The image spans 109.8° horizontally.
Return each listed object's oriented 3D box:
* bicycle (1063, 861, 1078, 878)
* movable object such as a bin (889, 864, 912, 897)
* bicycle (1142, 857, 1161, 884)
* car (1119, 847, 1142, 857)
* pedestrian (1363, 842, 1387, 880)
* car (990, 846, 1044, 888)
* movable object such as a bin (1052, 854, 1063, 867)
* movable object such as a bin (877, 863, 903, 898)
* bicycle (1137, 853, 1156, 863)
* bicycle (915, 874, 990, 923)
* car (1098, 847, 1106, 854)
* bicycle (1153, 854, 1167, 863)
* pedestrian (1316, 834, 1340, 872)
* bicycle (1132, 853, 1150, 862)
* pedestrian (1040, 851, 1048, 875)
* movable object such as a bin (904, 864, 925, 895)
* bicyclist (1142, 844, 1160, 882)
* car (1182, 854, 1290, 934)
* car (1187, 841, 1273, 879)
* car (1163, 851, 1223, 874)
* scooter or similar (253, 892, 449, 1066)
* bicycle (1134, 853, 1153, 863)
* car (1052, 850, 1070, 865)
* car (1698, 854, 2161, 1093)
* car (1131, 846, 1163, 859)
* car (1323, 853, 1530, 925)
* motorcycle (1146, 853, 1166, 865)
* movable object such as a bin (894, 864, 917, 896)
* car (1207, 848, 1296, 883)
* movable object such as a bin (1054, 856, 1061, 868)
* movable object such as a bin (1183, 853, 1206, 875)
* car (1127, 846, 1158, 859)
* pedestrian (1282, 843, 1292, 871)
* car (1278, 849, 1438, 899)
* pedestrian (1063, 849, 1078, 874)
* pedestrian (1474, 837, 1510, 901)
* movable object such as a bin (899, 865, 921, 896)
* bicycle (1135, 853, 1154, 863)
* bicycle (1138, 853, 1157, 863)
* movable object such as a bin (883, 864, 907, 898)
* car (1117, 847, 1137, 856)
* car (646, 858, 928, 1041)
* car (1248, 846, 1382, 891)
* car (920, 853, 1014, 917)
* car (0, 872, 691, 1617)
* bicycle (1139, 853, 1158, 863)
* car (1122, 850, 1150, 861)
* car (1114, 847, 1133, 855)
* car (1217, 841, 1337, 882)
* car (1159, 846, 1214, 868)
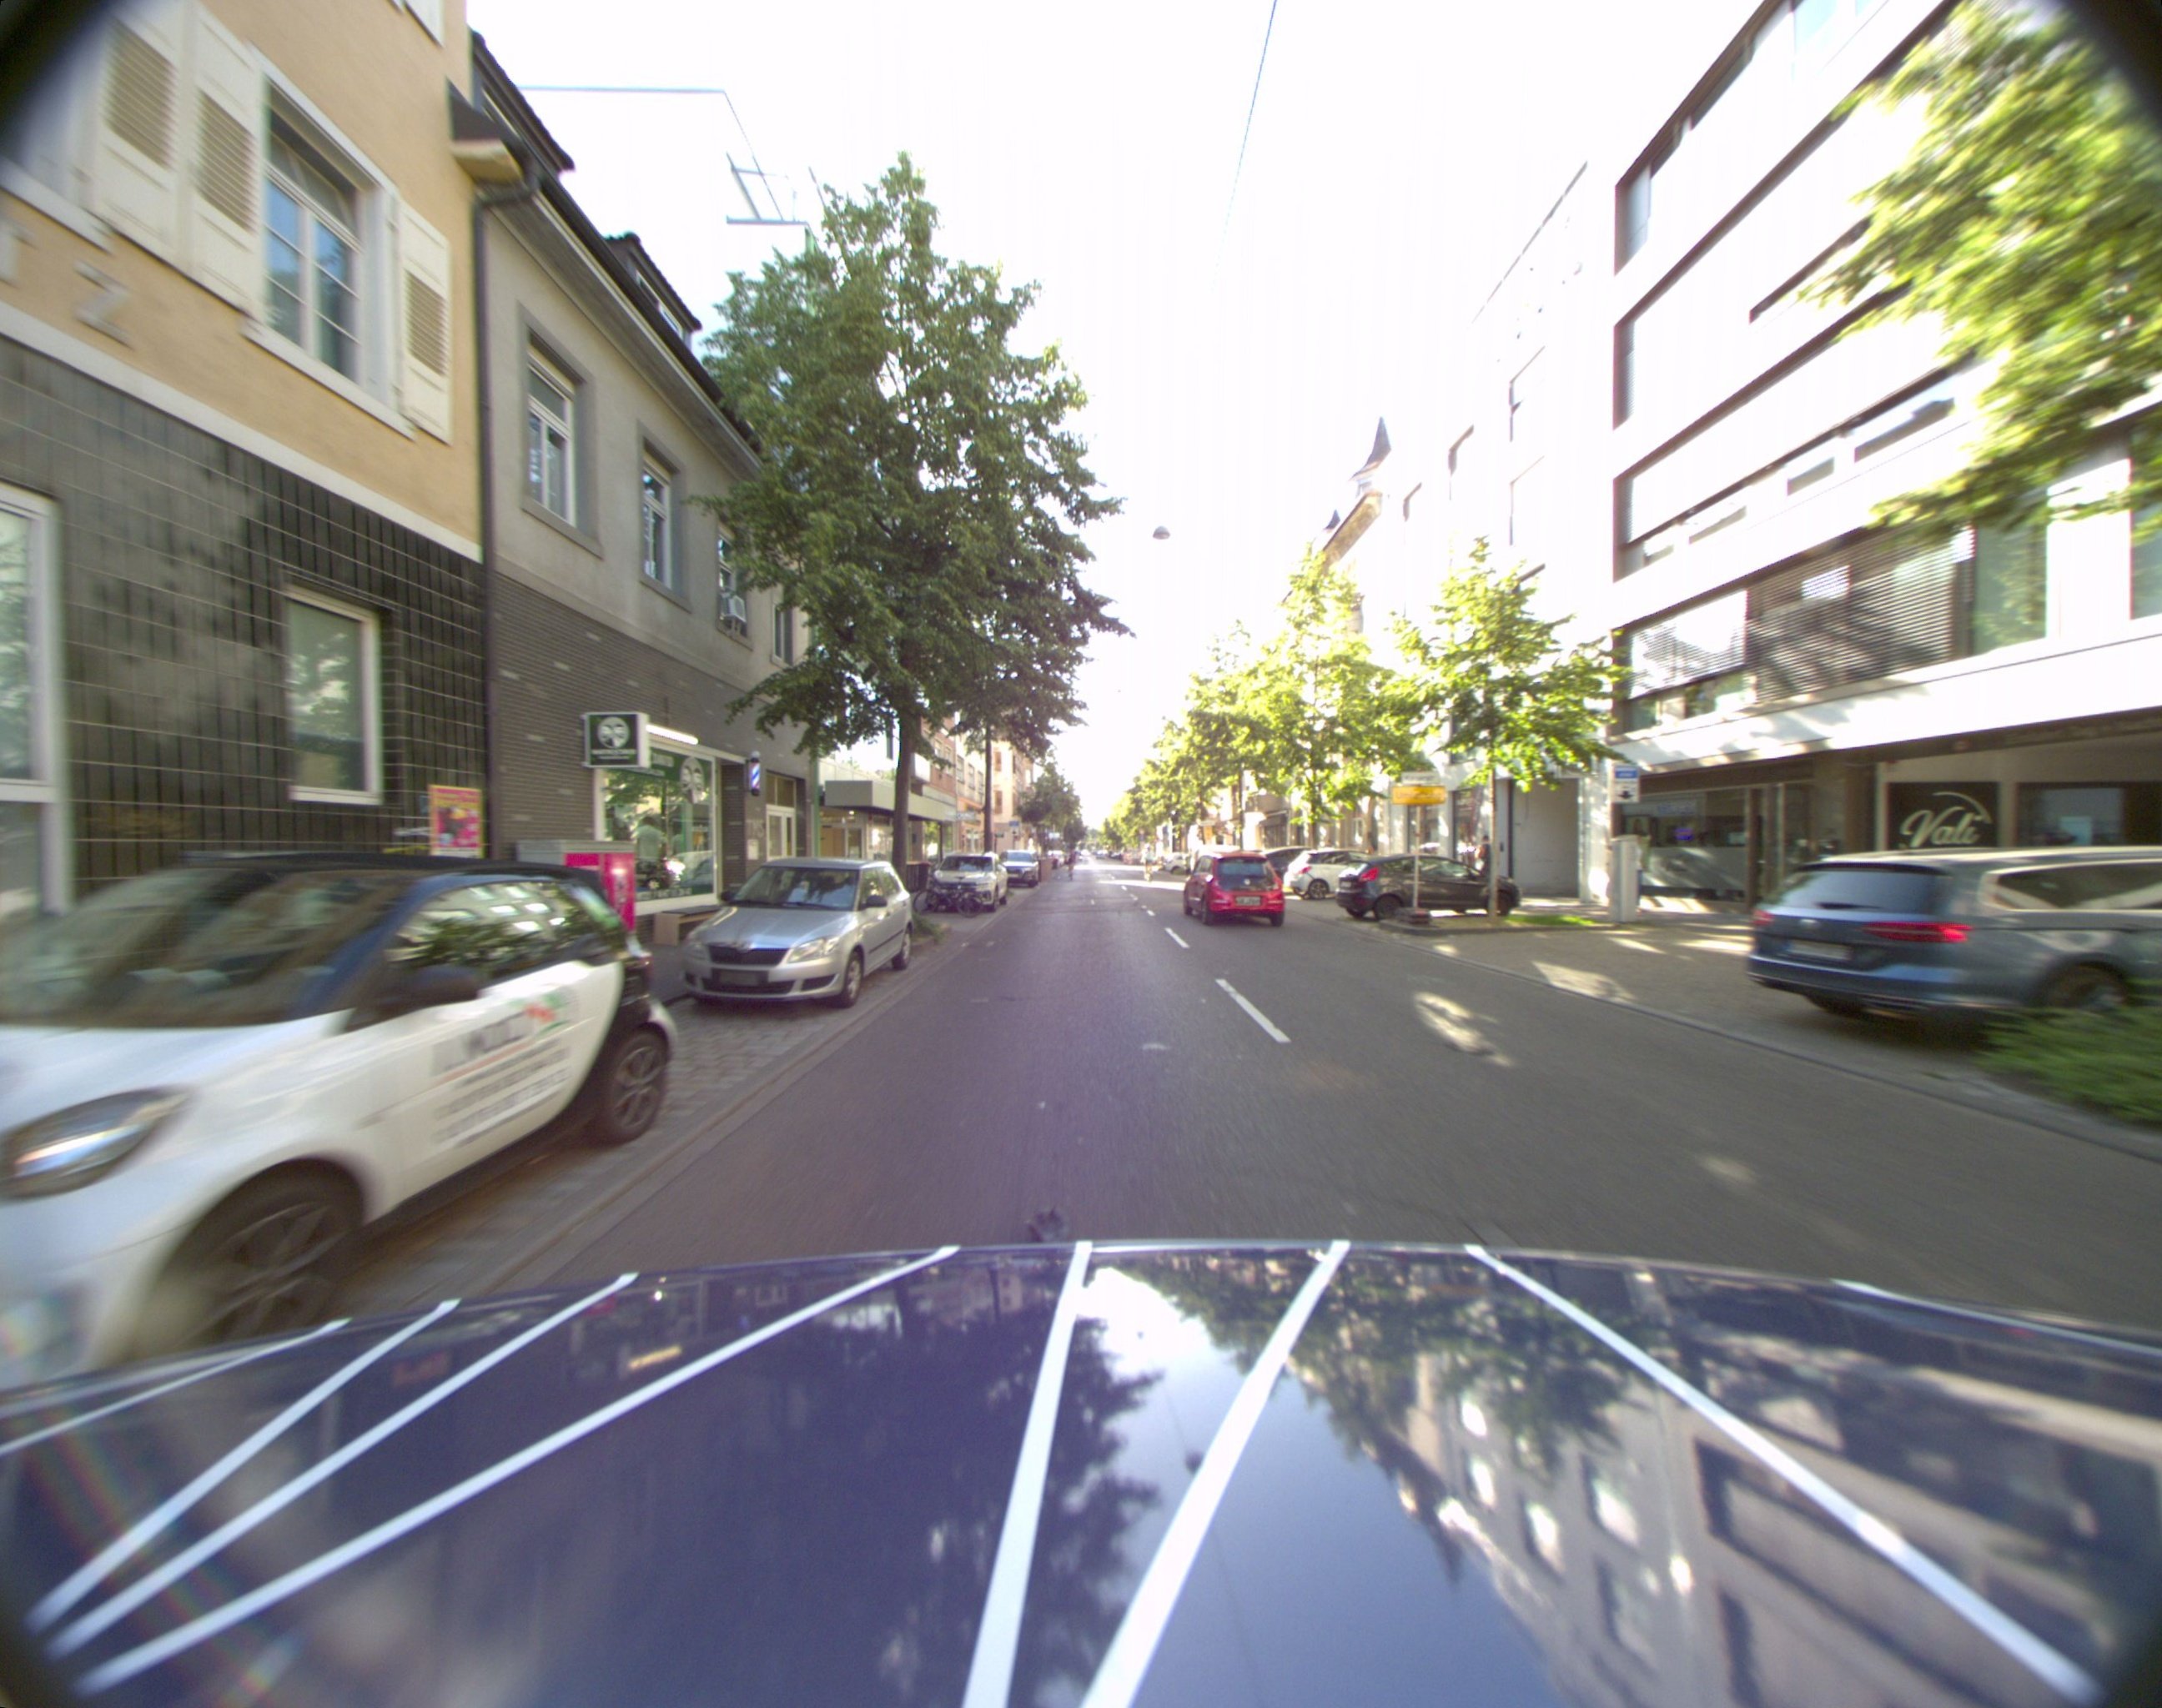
[{"bbox_3d":[-0.581,0.871,43.232,0.805,0.958,1.996,-2,0,-1],"label":"bicycle"},{"bbox_3d":[-5.941,0.864,24.999,0.615,1.058,0.589,0,1,2],"label":"movable object such as a bin"},{"bbox_3d":[3.235,0.748,35.032,0.727,1.162,2.197,0,0,1],"label":"bicycle"},{"bbox_3d":[9.102,-0.349,140.740,4.134,1.792,1.911,-1,1,-1],"label":"car"},{"bbox_3d":[11.778,0.273,30.464,0.594,1.485,0.842,-3,1,2],"label":"pedestrian"},{"bbox_3d":[-2.815,0.525,34.425,1.999,1.680,4.516,3,0,0],"label":"car"},{"bbox_3d":[-2.269,0.591,73.636,0.944,1.207,0.699,1,2,1],"label":"movable object such as a bin"},{"bbox_3d":[-5.959,0.831,23.757,0.615,1.058,0.655,0,1,2],"label":"movable object such as a bin"},{"bbox_3d":[7.129,0.425,83.227,2.006,1.023,0.473,-2,1,-12],"label":"bicycle"},{"bbox_3d":[-3.033,1.046,18.036,1.626,1.007,0.611,4,1,-1],"label":"bicycle"},{"bbox_3d":[4.648,-0.747,167.270,1.835,1.410,3.833,0,0,1],"label":"car"},{"bbox_3d":[8.662,0.522,83.448,1.513,0.945,0.360,-1,1,41],"label":"bicycle"},{"bbox_3d":[11.842,-0.036,36.500,0.776,1.756,0.763,-5,1,-1],"label":"pedestrian"},{"bbox_3d":[6.721,0.394,85.114,2.006,1.023,0.473,-2,1,-12],"label":"bicycle"},{"bbox_3d":[-2.380,0.580,48.611,0.474,1.520,0.462,-1,1,1],"label":"pedestrian"},{"bbox_3d":[-5.885,0.894,26.844,0.612,1.058,0.589,0,1,2],"label":"movable object such as a bin"},{"bbox_3d":[3.225,0.397,34.946,0.727,1.690,1.282,0,1,1],"label":"bicyclist"},{"bbox_3d":[3.326,0.792,16.987,1.662,1.526,3.760,1,0,1],"label":"car"},{"bbox_3d":[7.778,0.310,39.863,4.115,1.825,2.038,-1,0,1],"label":"car"},{"bbox_3d":[7.725,0.556,52.636,3.788,1.455,1.709,-1,0,-2],"label":"car"},{"bbox_3d":[-5.744,0.931,6.058,0.400,1.180,1.168,2,1,2],"label":"scooter or similar"},{"bbox_3d":[6.943,0.400,84.144,2.006,1.023,0.473,-2,1,-12],"label":"bicycle"},{"bbox_3d":[-2.194,0.345,85.683,1.835,1.641,4.159,1,0,1],"label":"car"},{"bbox_3d":[7.843,0.801,5.961,4.504,1.450,1.790,-2,1,1],"label":"car"},{"bbox_3d":[8.839,-0.166,101.877,4.134,1.670,2.000,-1,1,-1],"label":"car"},{"bbox_3d":[7.595,0.731,16.928,3.790,1.450,1.780,-1,1,-3],"label":"car"},{"bbox_3d":[8.008,0.509,81.506,2.004,1.178,0.740,-1,1,-2],"label":"motorcycle"},{"bbox_3d":[-5.912,0.883,25.622,0.615,1.058,0.589,0,1,2],"label":"movable object such as a bin"},{"bbox_3d":[7.922,0.506,35.539,3.809,1.549,1.791,-1,1,1],"label":"car"},{"bbox_3d":[-2.220,0.727,71.817,0.634,1.062,0.602,1,3,2],"label":"movable object such as a bin"},{"bbox_3d":[6.880,0.616,46.199,1.240,1.295,0.870,0,1,0],"label":"movable object such as a bin"},{"bbox_3d":[8.662,-0.231,107.470,4.134,1.670,2.000,-1,1,-1],"label":"car"},{"bbox_3d":[12.499,0.158,46.160,0.434,1.662,0.639,-1,1,3],"label":"pedestrian"},{"bbox_3d":[8.557,0.593,23.731,4.257,1.450,1.979,-1,0,-3],"label":"car"},{"bbox_3d":[-0.599,0.402,43.185,0.804,1.381,0.931,-2,0,-1],"label":"pedestrian"},{"bbox_3d":[11.587,0.415,21.453,0.700,1.787,0.746,0,1,12],"label":"pedestrian"},{"bbox_3d":[-5.900,0.900,26.225,0.615,1.058,0.589,0,1,2],"label":"movable object such as a bin"},{"bbox_3d":[7.039,0.417,83.721,2.006,1.023,0.473,-2,1,-12],"label":"bicycle"},{"bbox_3d":[7.241,0.421,82.749,2.006,1.023,0.473,-2,1,-12],"label":"bicycle"},{"bbox_3d":[-5.956,0.864,24.392,0.615,1.058,0.589,0,1,2],"label":"movable object such as a bin"},{"bbox_3d":[9.832,-0.598,161.771,4.134,1.792,1.911,-1,1,-1],"label":"car"},{"bbox_3d":[-3.059,0.868,8.911,1.618,1.520,4.234,3,0,0],"label":"car"},{"bbox_3d":[8.605,0.516,28.271,4.377,1.561,1.980,-1,1,1],"label":"car"},{"bbox_3d":[-2.999,0.762,20.843,1.888,1.518,4.233,2,0,0],"label":"car"},{"bbox_3d":[-3.203,0.906,3.116,1.618,1.520,3.060,1,1,0],"label":"car"},{"bbox_3d":[7.332,0.419,82.208,2.006,1.023,0.473,-2,1,-12],"label":"bicycle"},{"bbox_3d":[8.551,0.246,117.823,4.134,1.585,1.911,-1,1,-1],"label":"car"},{"bbox_3d":[9.687,-0.664,172.619,4.134,1.792,1.911,-1,1,-1],"label":"car"},{"bbox_3d":[7.915,0.302,30.992,4.377,1.561,1.946,-1,1,1],"label":"car"},{"bbox_3d":[8.088,0.245,58.422,4.008,1.456,1.748,-2,2,0],"label":"car"}]
